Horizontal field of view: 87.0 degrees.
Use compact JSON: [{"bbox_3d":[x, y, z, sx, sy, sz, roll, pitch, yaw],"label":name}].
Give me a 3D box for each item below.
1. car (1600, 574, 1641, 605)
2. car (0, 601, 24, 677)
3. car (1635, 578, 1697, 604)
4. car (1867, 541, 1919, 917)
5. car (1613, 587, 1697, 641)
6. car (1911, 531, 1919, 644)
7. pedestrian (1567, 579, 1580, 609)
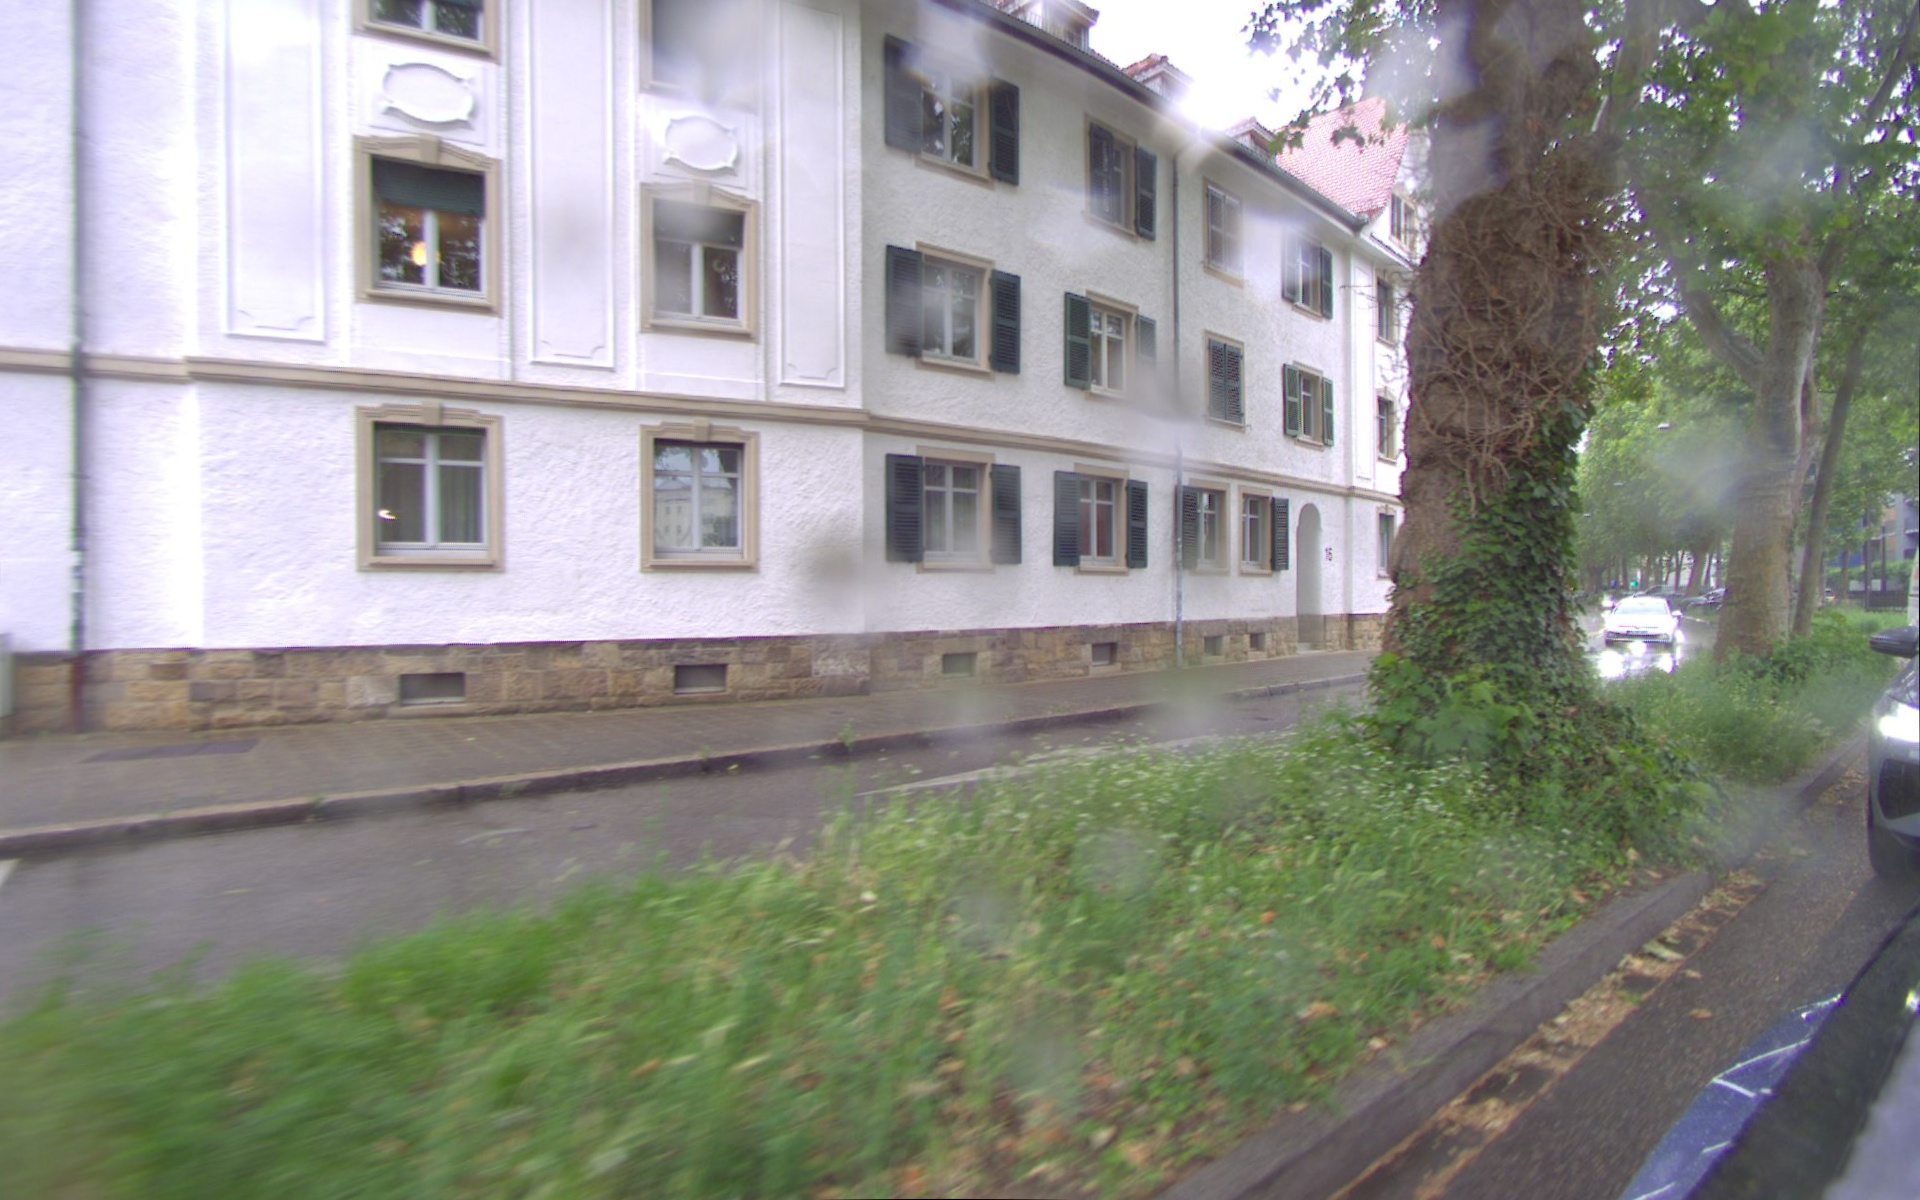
[{"bbox_3d":[48.147,-0.784,73.864,1.982,2.037,3.962,5,3,28],"label":"car"},{"bbox_3d":[-19.627,0.759,18.193,3.740,1.400,1.754,-1,1,-26],"label":"car"},{"bbox_3d":[56.843,-0.691,81.610,3.969,2.039,1.977,0,0,32],"label":"car"},{"bbox_3d":[6.234,0.540,5.303,4.039,1.662,1.913,-1,1,-44],"label":"car"},{"bbox_3d":[21.892,0.390,31.815,1.824,1.544,3.943,0,1,40],"label":"car"},{"bbox_3d":[19.358,-0.236,18.614,2.185,2.292,5.338,0,0,38],"label":"car"},{"bbox_3d":[38.417,-0.391,63.328,0.668,1.844,0.672,0,0,31],"label":"pedestrian"}]
